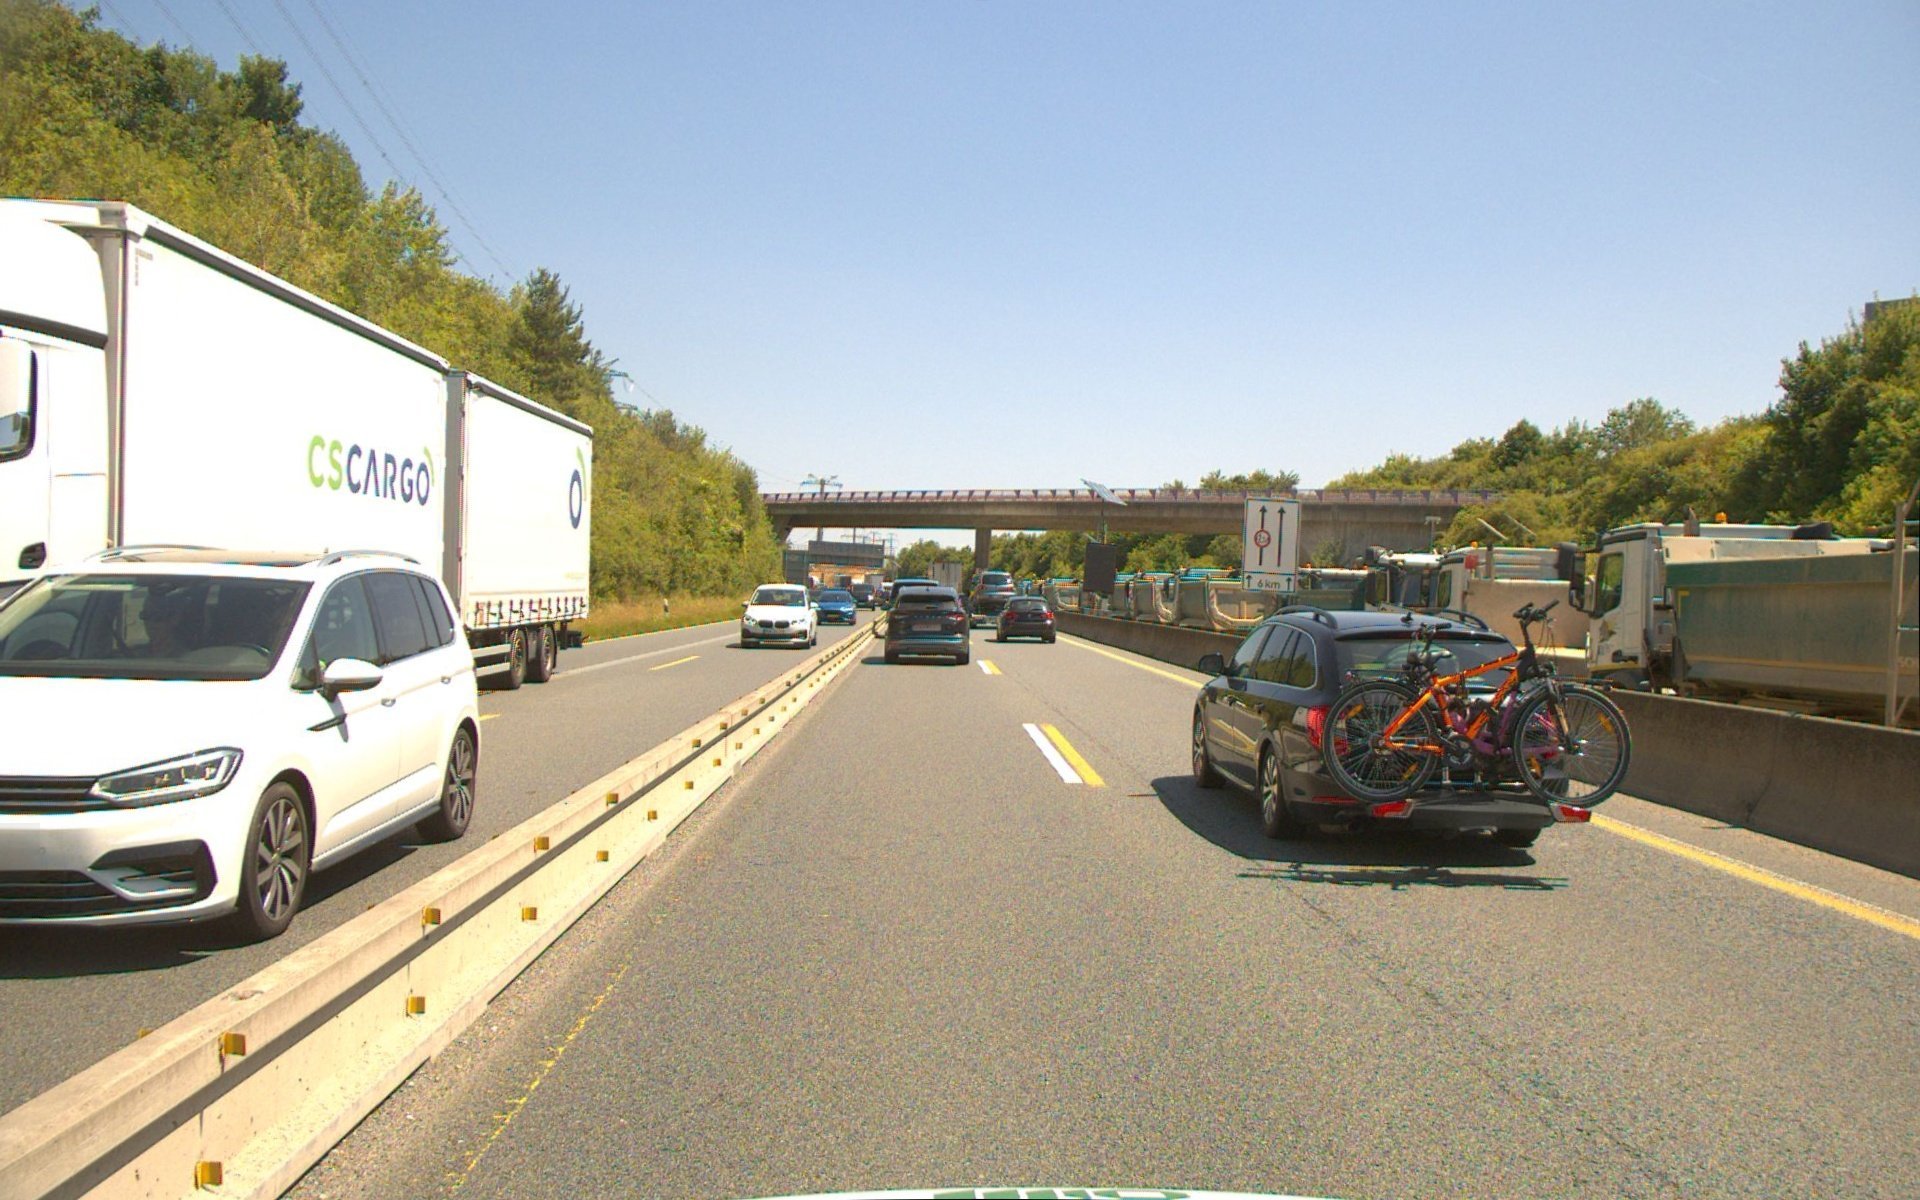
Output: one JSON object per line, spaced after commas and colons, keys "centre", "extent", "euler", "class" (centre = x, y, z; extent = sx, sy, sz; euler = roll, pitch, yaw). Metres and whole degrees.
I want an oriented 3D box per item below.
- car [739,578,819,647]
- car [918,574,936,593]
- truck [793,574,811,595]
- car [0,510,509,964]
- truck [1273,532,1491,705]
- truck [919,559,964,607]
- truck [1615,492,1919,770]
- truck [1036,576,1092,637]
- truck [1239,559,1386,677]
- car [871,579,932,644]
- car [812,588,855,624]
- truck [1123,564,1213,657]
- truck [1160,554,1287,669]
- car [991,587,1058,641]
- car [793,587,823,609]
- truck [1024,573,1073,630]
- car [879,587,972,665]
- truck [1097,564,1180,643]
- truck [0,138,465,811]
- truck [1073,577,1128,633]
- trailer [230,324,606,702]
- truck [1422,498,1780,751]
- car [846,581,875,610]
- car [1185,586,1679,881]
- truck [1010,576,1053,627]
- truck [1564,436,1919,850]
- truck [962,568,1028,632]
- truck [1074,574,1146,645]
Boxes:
{"centre": [-4.668, 0.319, 43.206], "extent": [1.727, 1.660, 4.295], "euler": [2, 0, -2], "class": "car"}
{"centre": [-3.544, -1.752, 177.411], "extent": [1.860, 2.003, 4.275], "euler": [2, 0, -1], "class": "car"}
{"centre": [-24.643, -2.433, 257.865], "extent": [2.460, 3.242, 10.095], "euler": [1, 0, -6], "class": "truck"}
{"centre": [-3.654, 0.500, 8.176], "extent": [1.788, 1.659, 4.149], "euler": [1, 0, -2], "class": "car"}
{"centre": [9.871, 0.370, 39.941], "extent": [2.487, 3.619, 9.599], "euler": [1, 0, -2], "class": "truck"}
{"centre": [-1.649, -1.443, 142.415], "extent": [3.227, 3.912, 10.102], "euler": [1, 0, -4], "class": "truck"}
{"centre": [13.229, 0.406, 25.546], "extent": [2.633, 3.572, 8.377], "euler": [1, 0, -2], "class": "truck"}
{"centre": [6.799, 0.374, 109.365], "extent": [2.633, 3.826, 9.321], "euler": [1, 0, -2], "class": "truck"}
{"centre": [11.789, 0.535, 56.303], "extent": [2.633, 3.619, 9.599], "euler": [1, 0, -2], "class": "truck"}
{"centre": [-1.897, 0.357, 54.459], "extent": [1.860, 2.003, 4.275], "euler": [2, 0, -1], "class": "car"}
{"centre": [-5.436, 0.249, 71.398], "extent": [1.678, 1.450, 4.168], "euler": [2, 0, -2], "class": "car"}
{"centre": [8.718, 0.381, 70.411], "extent": [2.632, 3.619, 9.406], "euler": [1, 0, 0], "class": "truck"}
{"centre": [9.069, 0.345, 58.067], "extent": [2.633, 3.619, 9.600], "euler": [1, 0, -2], "class": "truck"}
{"centre": [2.005, 0.418, 52.778], "extent": [1.861, 1.613, 4.275], "euler": [2, 0, -1], "class": "car"}
{"centre": [-10.864, -0.156, 118.321], "extent": [1.757, 1.552, 4.530], "euler": [2, 0, -1], "class": "car"}
{"centre": [6.400, 0.089, 120.798], "extent": [2.633, 3.923, 9.321], "euler": [1, 0, -2], "class": "truck"}
{"centre": [-0.732, 0.524, 35.902], "extent": [1.860, 1.531, 4.275], "euler": [2, 0, -1], "class": "car"}
{"centre": [8.725, 0.153, 81.842], "extent": [2.633, 3.619, 9.321], "euler": [1, 0, -2], "class": "truck"}
{"centre": [-7.053, -0.808, 14.398], "extent": [2.361, 4.061, 10.350], "euler": [2, 0, -1], "class": "truck"}
{"centre": [9.957, 0.297, 117.814], "extent": [2.633, 3.792, 9.321], "euler": [1, 0, -2], "class": "truck"}
{"centre": [-7.336, -1.057, 23.850], "extent": [2.584, 4.388, 8.446], "euler": [2, 0, -1], "class": "trailer"}
{"centre": [10.462, 0.335, 28.230], "extent": [2.481, 3.572, 8.943], "euler": [1, 0, -1], "class": "truck"}
{"centre": [-7.335, -0.326, 122.200], "extent": [1.852, 2.049, 4.817], "euler": [2, 0, -1], "class": "car"}
{"centre": [2.848, 0.715, 11.261], "extent": [1.860, 1.516, 4.946], "euler": [2, 0, -1], "class": "car"}
{"centre": [5.671, 0.104, 133.458], "extent": [2.633, 3.910, 9.321], "euler": [1, 0, -2], "class": "truck"}
{"centre": [9.438, 0.377, 17.476], "extent": [2.482, 3.572, 9.094], "euler": [1, 0, -2], "class": "truck"}
{"centre": [1.463, -0.047, 72.540], "extent": [2.357, 2.603, 7.496], "euler": [2, 1, -3], "class": "truck"}
{"centre": [8.147, 0.463, 90.631], "extent": [2.633, 3.619, 9.321], "euler": [1, 0, -2], "class": "truck"}
